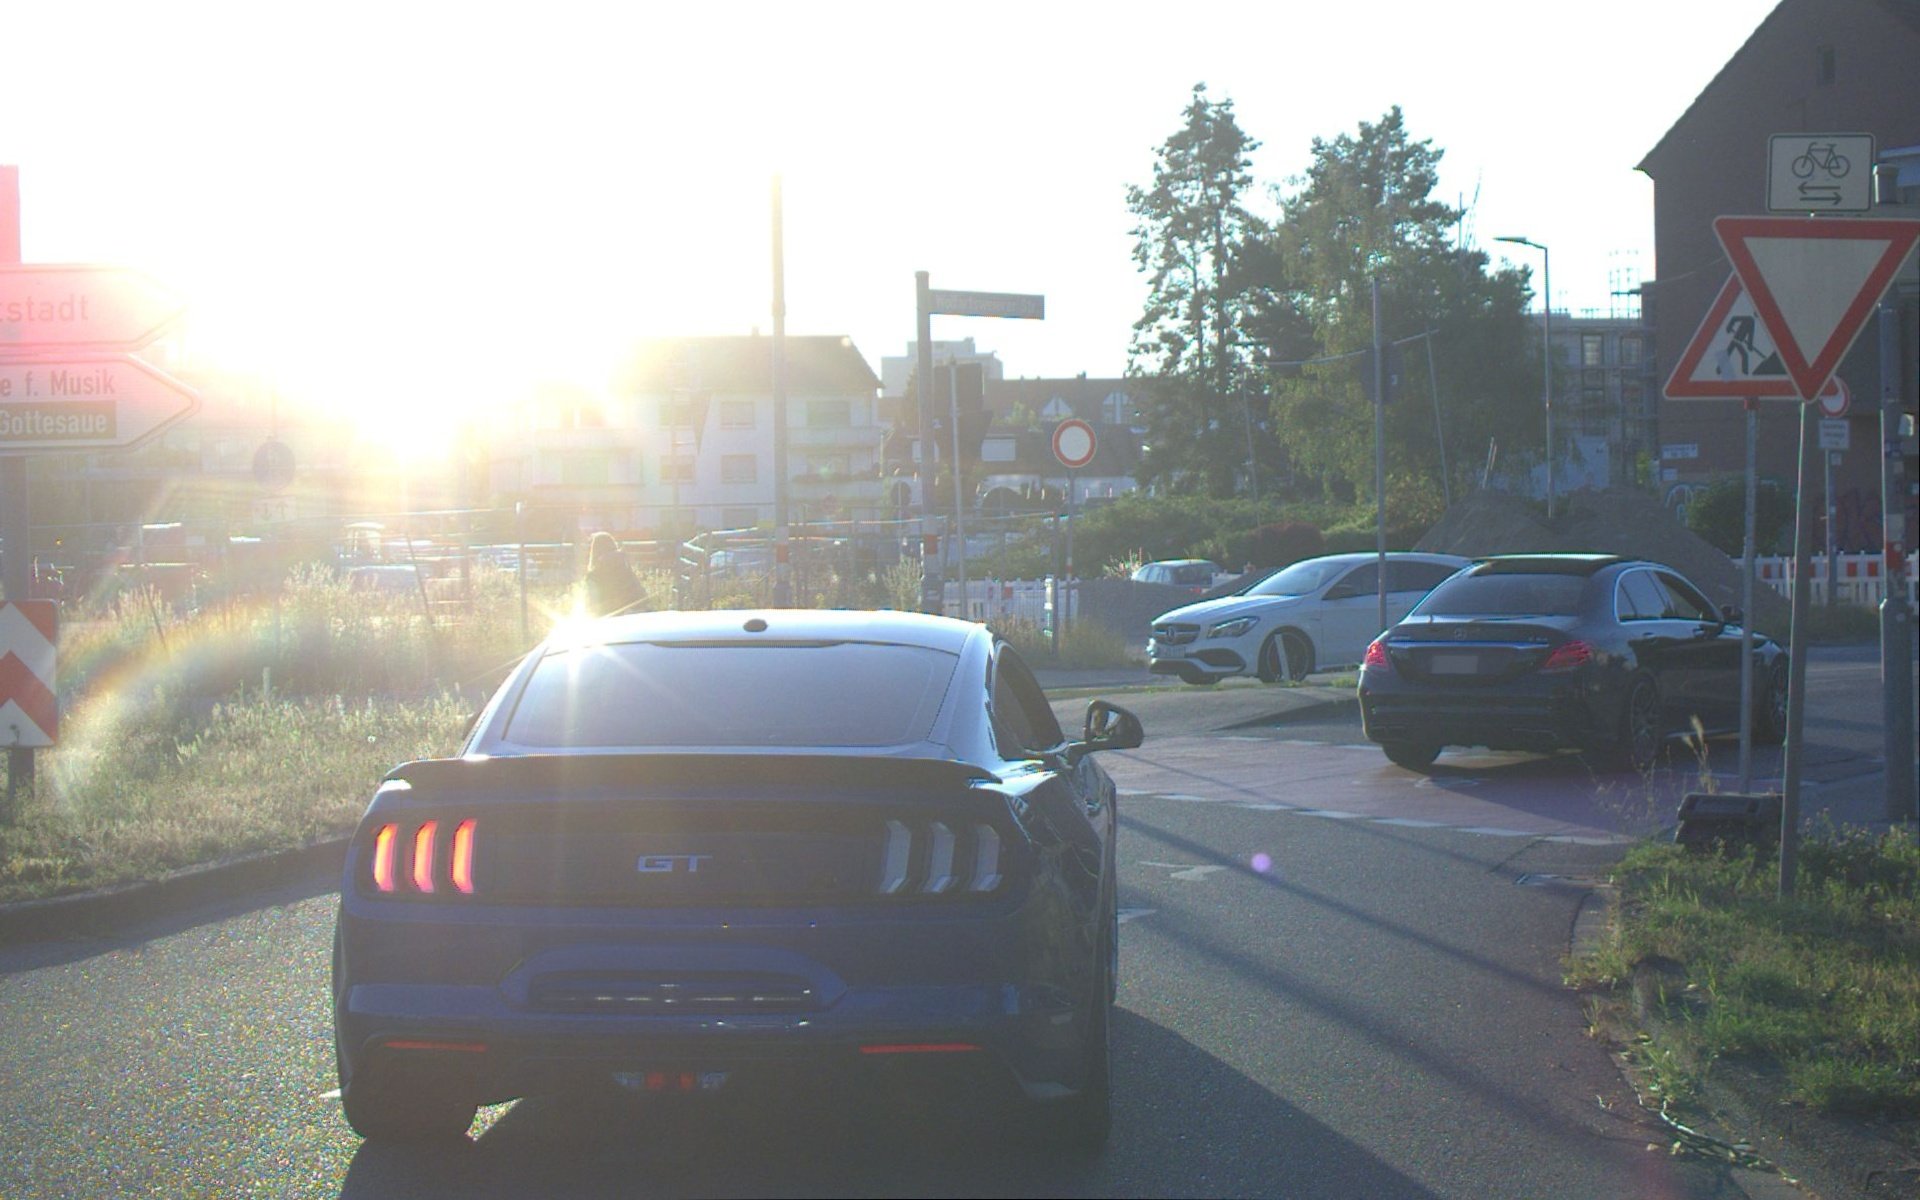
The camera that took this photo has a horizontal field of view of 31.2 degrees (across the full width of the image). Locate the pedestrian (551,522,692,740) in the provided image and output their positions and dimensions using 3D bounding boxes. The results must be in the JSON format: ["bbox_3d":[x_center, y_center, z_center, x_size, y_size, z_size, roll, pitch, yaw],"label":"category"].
[{"bbox_3d":[-2.695,0.233,27.353,0.843,1.680,0.887,-2,1,-24],"label":"pedestrian"}]

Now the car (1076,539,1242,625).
[{"bbox_3d":[4.057,-0.385,70.825,1.993,1.700,4.001,-1,1,-19],"label":"car"}]

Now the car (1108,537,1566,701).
[{"bbox_3d":[4.184,0.165,38.061,4.641,1.448,2.075,-4,4,-28],"label":"car"}]

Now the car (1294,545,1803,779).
[{"bbox_3d":[4.243,0.379,24.194,1.955,1.422,4.422,-1,1,32],"label":"car"}]

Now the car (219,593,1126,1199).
[{"bbox_3d":[-0.523,0.694,9.856,1.951,1.337,4.670,0,1,3],"label":"car"}]
